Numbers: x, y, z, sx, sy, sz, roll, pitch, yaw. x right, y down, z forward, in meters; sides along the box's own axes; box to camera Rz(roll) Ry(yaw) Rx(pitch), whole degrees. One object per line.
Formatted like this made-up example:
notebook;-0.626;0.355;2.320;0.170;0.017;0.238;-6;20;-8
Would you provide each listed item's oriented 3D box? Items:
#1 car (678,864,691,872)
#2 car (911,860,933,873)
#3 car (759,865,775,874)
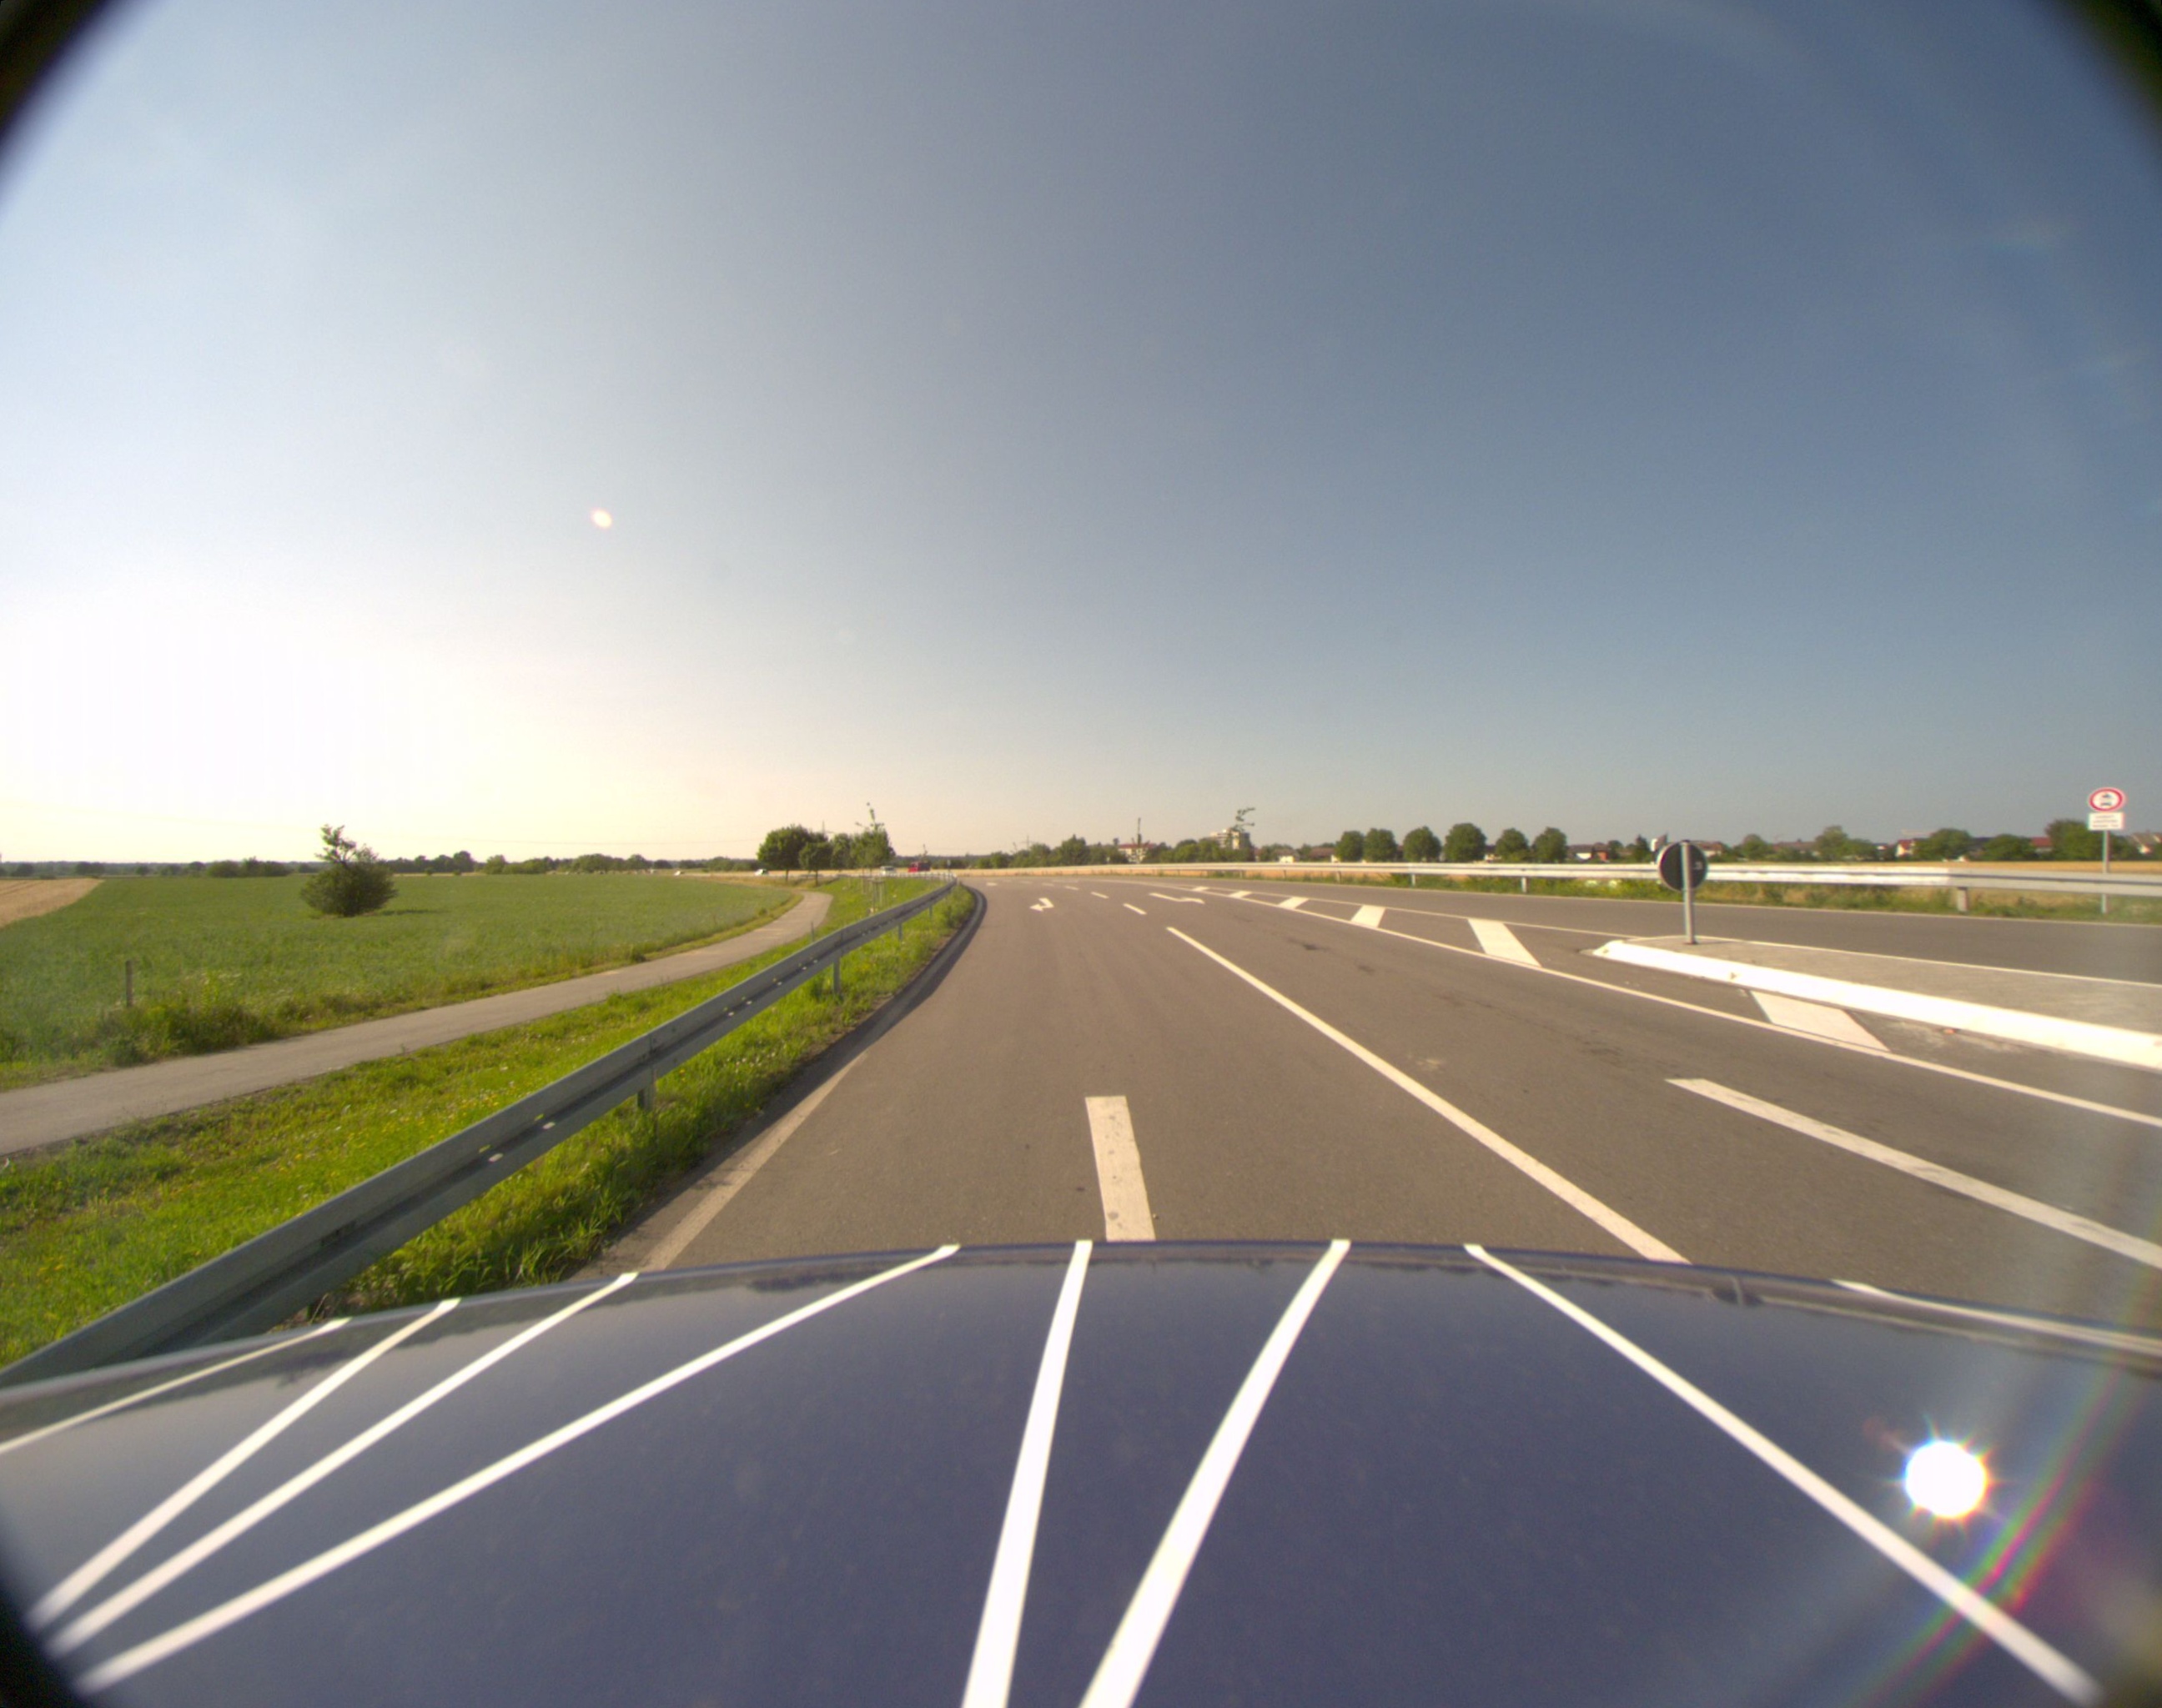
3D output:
car;-110.310;3.967;211.360;2.004;2.002;3.989;-3;1;-44
car;-20.917;1.622;100.002;1.817;1.663;3.991;-3;1;-27
car;-66.947;3.343;161.979;2.004;1.746;3.989;-1;-1;-42
